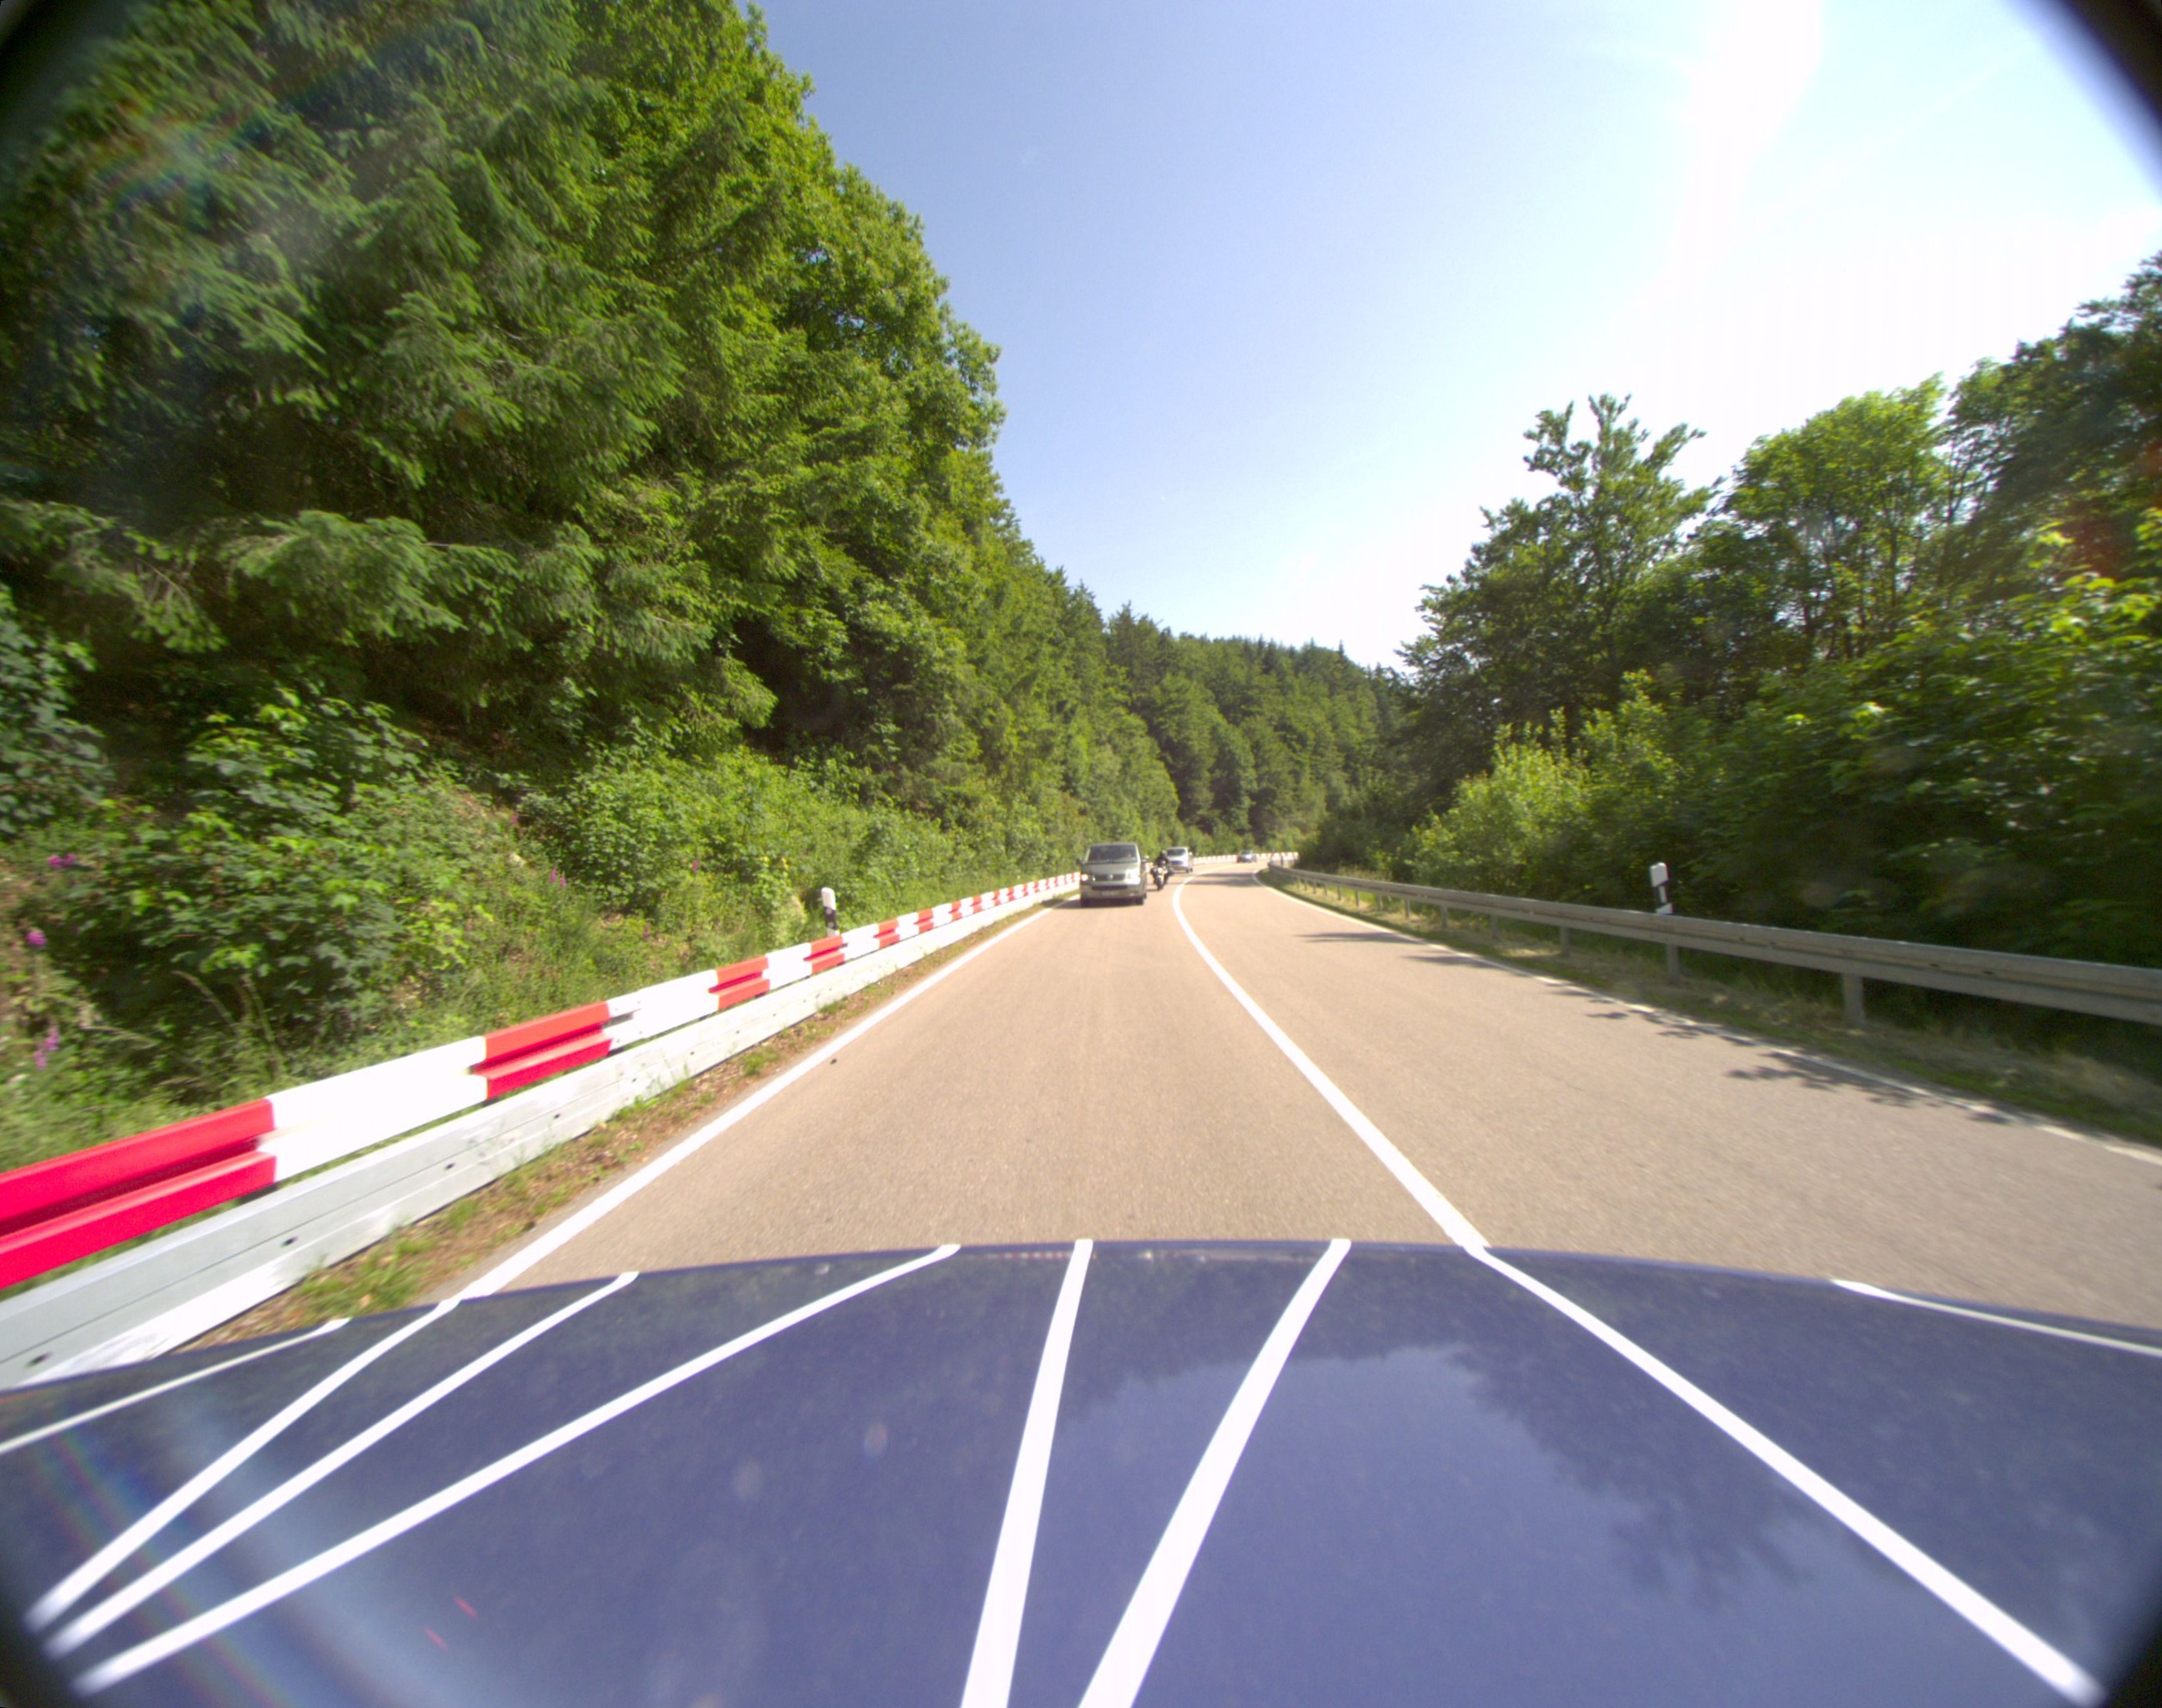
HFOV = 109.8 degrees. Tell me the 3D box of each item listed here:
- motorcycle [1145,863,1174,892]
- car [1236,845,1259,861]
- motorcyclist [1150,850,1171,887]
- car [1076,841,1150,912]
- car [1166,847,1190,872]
[{"bbox_3d":[3.200,0.938,30.932,1.109,1.116,1.962,-1,0,7],"label":"motorcycle"},{"bbox_3d":[19.651,-0.131,89.586,1.996,1.633,4.006,-3,0,21],"label":"car"},{"bbox_3d":[3.215,0.566,30.853,0.716,1.421,0.999,-4,0,5],"label":"motorcyclist"},{"bbox_3d":[1.105,0.625,24.090,2.028,1.940,4.900,-2,0,5],"label":"car"},{"bbox_3d":[7.106,0.390,55.460,1.652,1.749,3.796,-2,0,9],"label":"car"}]
